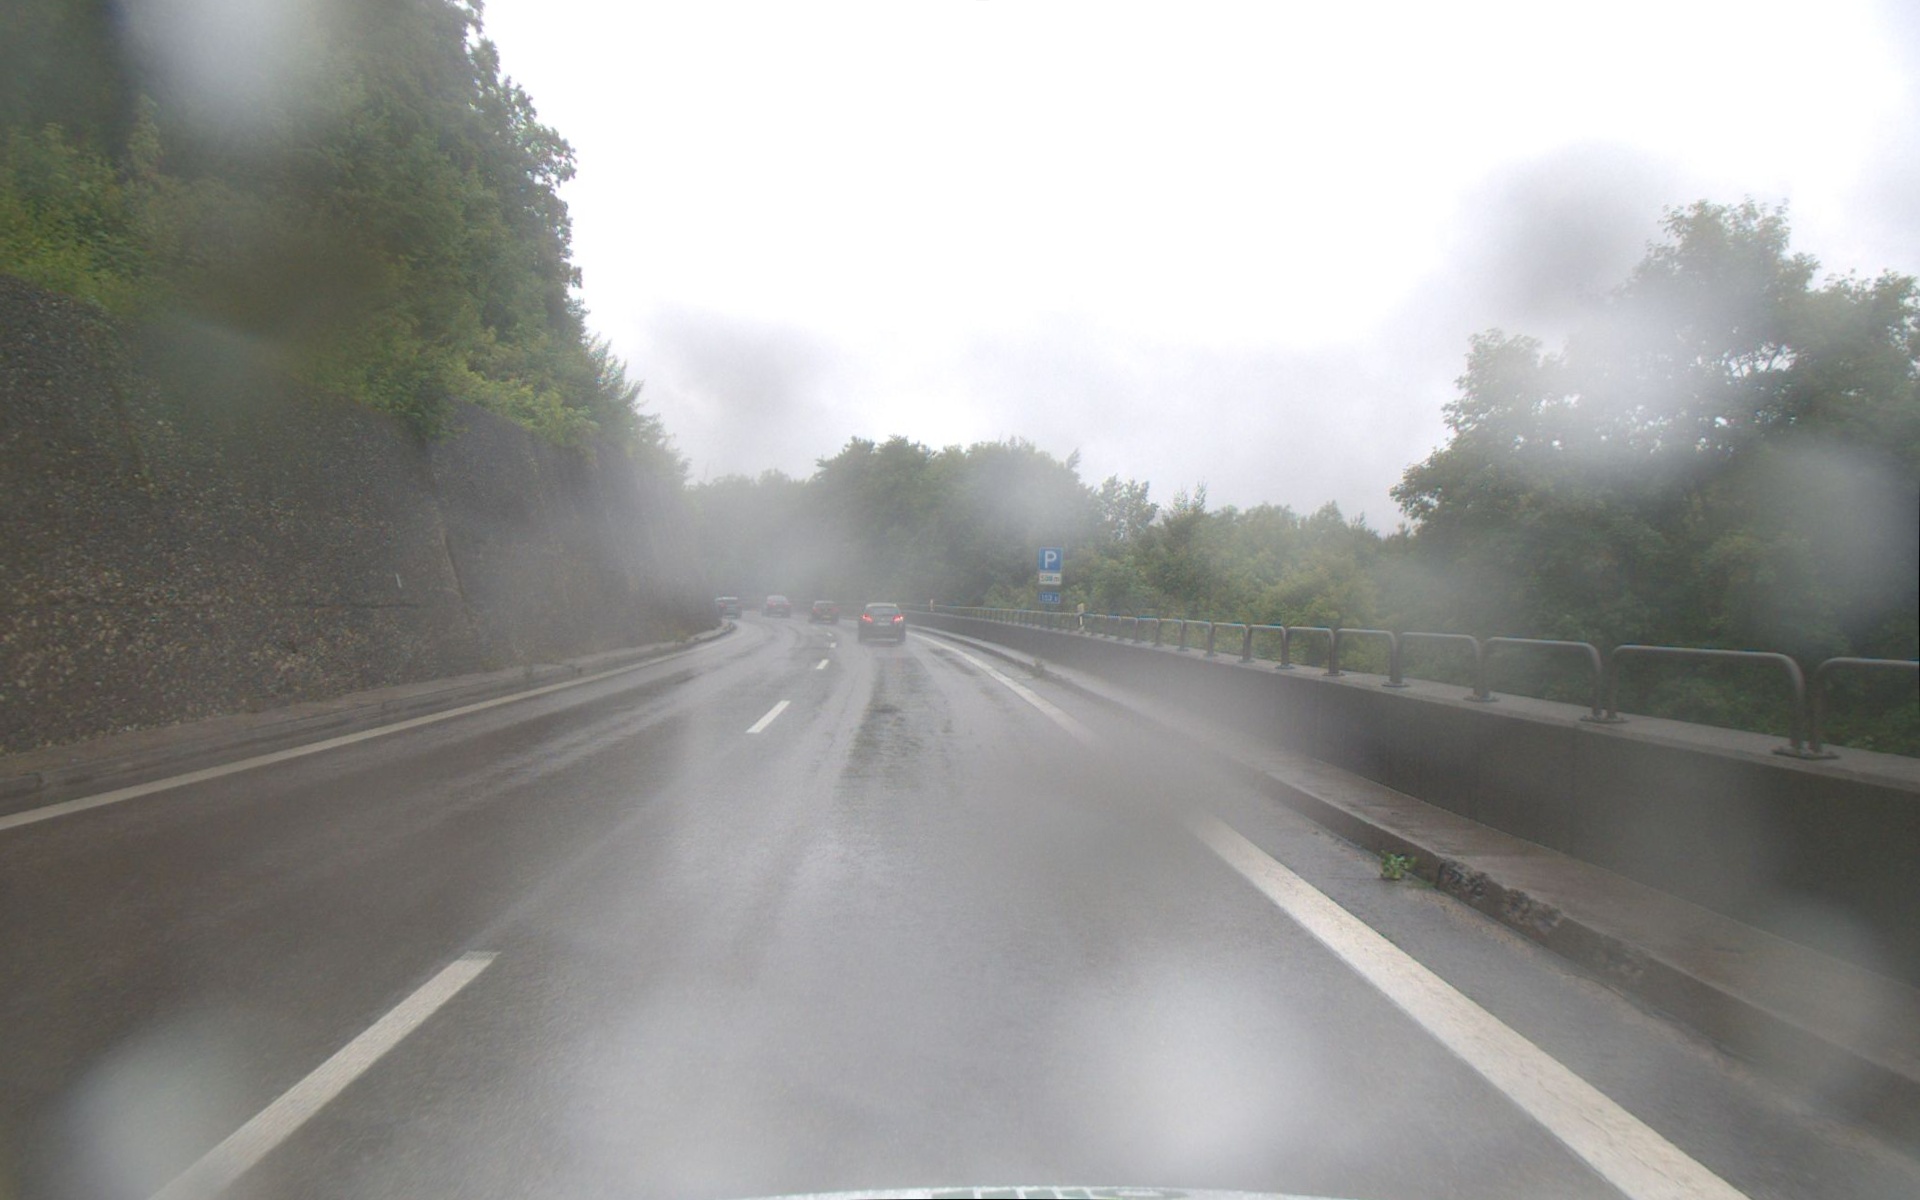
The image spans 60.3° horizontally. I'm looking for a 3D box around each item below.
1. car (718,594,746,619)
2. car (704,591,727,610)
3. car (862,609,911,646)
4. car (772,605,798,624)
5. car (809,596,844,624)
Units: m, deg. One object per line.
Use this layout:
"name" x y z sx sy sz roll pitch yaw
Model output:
"car" -18.249 0.568 132.269 1.957 1.937 3.990 1 -1 -10
"car" -26.987 0.052 182.519 1.961 2.049 3.983 1 -1 -15
"car" -2.812 1.021 62.579 1.765 1.330 3.996 0 0 -4
"car" -14.321 1.177 135.172 1.769 1.492 3.988 0 0 -12
"car" -8.724 0.652 107.755 1.956 1.780 3.992 1 -1 -8
